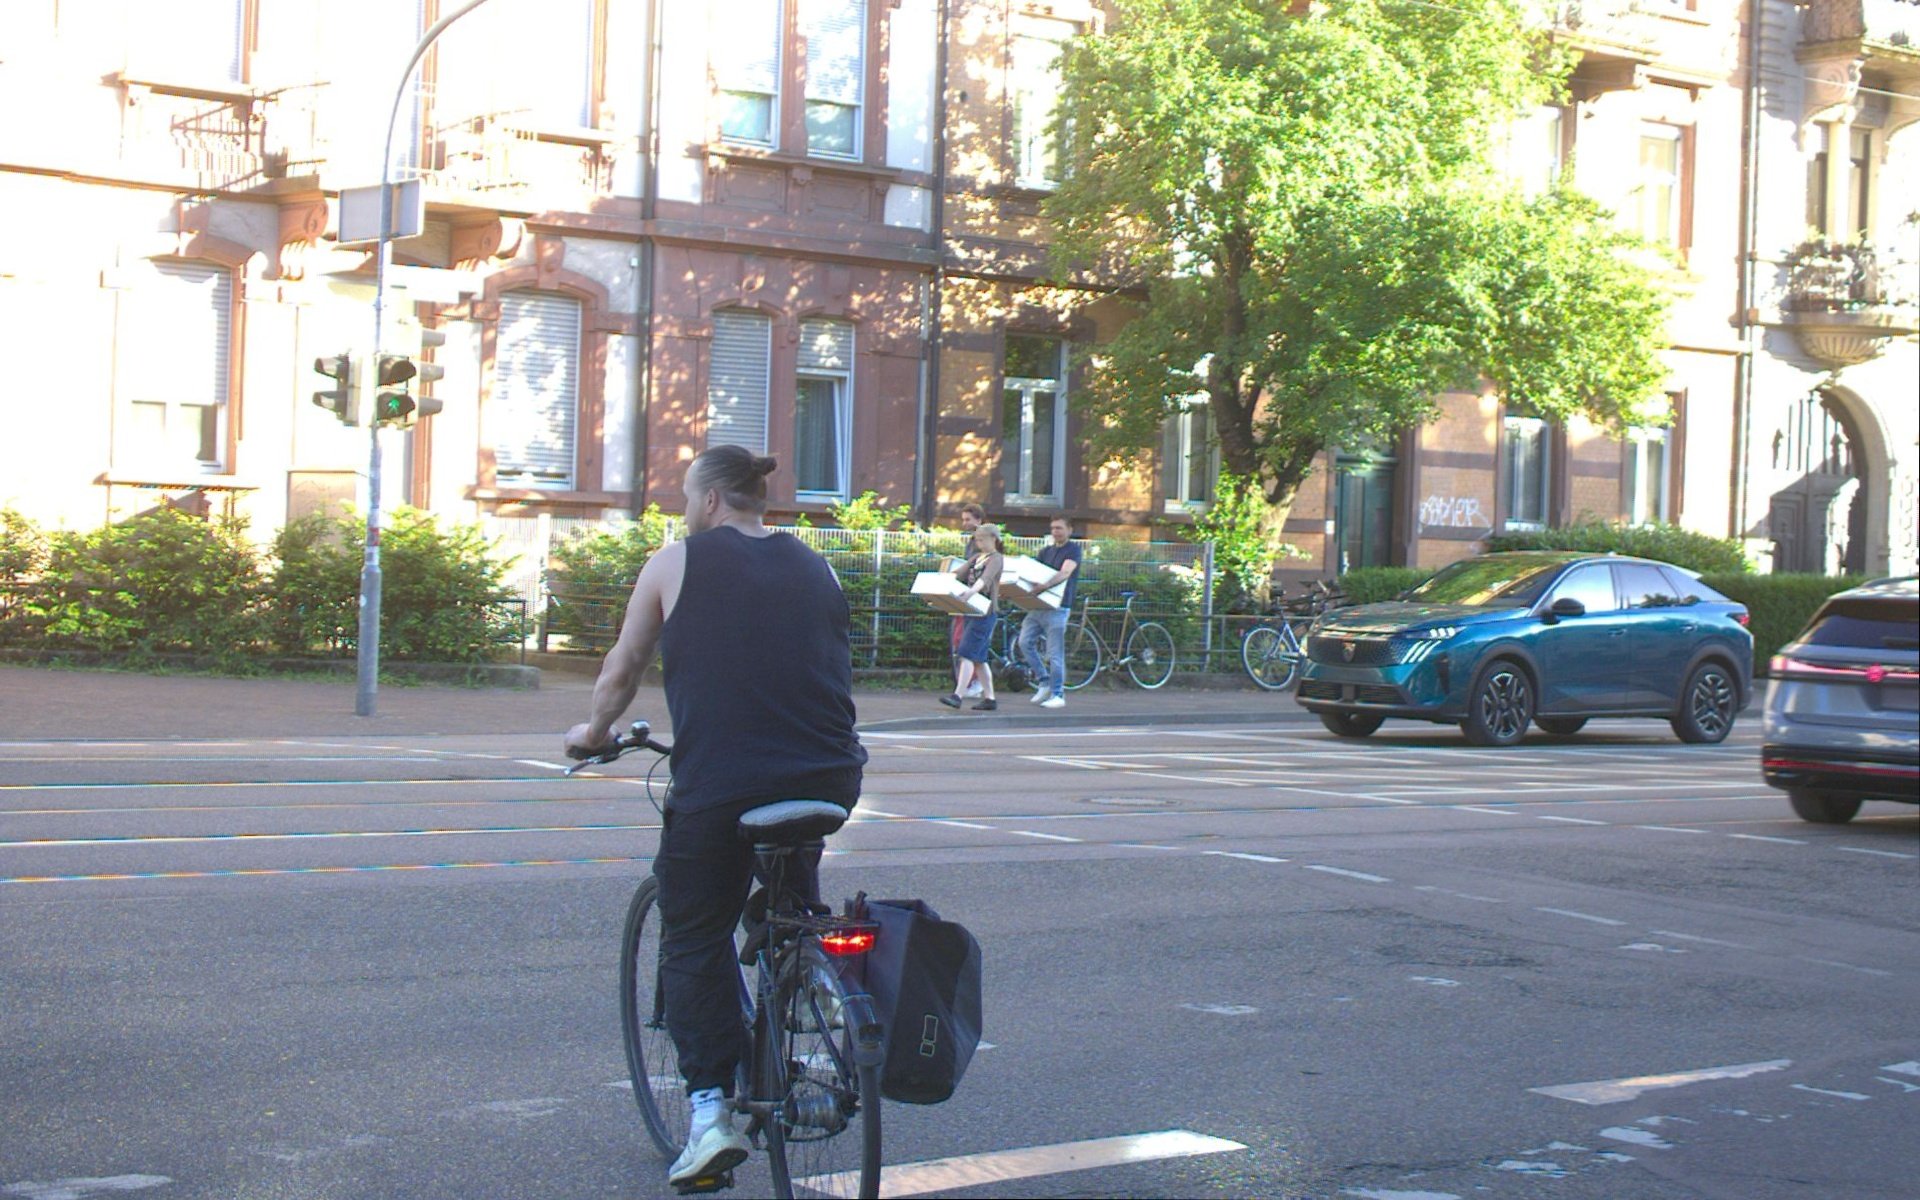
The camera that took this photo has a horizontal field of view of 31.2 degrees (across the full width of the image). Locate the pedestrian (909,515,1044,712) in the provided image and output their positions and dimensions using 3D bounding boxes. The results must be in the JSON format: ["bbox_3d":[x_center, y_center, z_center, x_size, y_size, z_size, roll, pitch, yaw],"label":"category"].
[{"bbox_3d":[0.144,0.119,30.362,0.895,1.659,0.712,2,3,-23],"label":"pedestrian"}]

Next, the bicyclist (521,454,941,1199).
[{"bbox_3d":[-0.528,0.526,7.587,0.686,1.650,0.990,1,0,-17],"label":"bicyclist"}]

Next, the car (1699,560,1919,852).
[{"bbox_3d":[6.590,0.641,21.261,1.975,1.580,4.464,4,2,41],"label":"car"}]

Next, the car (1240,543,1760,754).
[{"bbox_3d":[4.695,0.421,29.590,4.397,1.644,1.948,2,1,-40],"label":"car"}]

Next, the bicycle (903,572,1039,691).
[{"bbox_3d":[0.107,0.306,33.192,1.229,1.103,0.443,1,2,-34],"label":"bicycle"}]

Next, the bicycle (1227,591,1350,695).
[{"bbox_3d":[3.396,0.450,35.499,1.230,1.035,0.443,1,2,-35],"label":"bicycle"}]

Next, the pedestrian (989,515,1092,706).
[{"bbox_3d":[0.733,0.095,31.467,0.634,1.709,0.664,2,1,-27],"label":"pedestrian"}]

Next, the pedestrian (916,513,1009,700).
[{"bbox_3d":[0.026,0.058,32.088,0.634,1.709,0.521,2,1,-27],"label":"pedestrian"}]

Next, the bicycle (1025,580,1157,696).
[{"bbox_3d":[1.295,0.376,33.970,1.229,1.103,0.443,2,2,-34],"label":"bicycle"}]
